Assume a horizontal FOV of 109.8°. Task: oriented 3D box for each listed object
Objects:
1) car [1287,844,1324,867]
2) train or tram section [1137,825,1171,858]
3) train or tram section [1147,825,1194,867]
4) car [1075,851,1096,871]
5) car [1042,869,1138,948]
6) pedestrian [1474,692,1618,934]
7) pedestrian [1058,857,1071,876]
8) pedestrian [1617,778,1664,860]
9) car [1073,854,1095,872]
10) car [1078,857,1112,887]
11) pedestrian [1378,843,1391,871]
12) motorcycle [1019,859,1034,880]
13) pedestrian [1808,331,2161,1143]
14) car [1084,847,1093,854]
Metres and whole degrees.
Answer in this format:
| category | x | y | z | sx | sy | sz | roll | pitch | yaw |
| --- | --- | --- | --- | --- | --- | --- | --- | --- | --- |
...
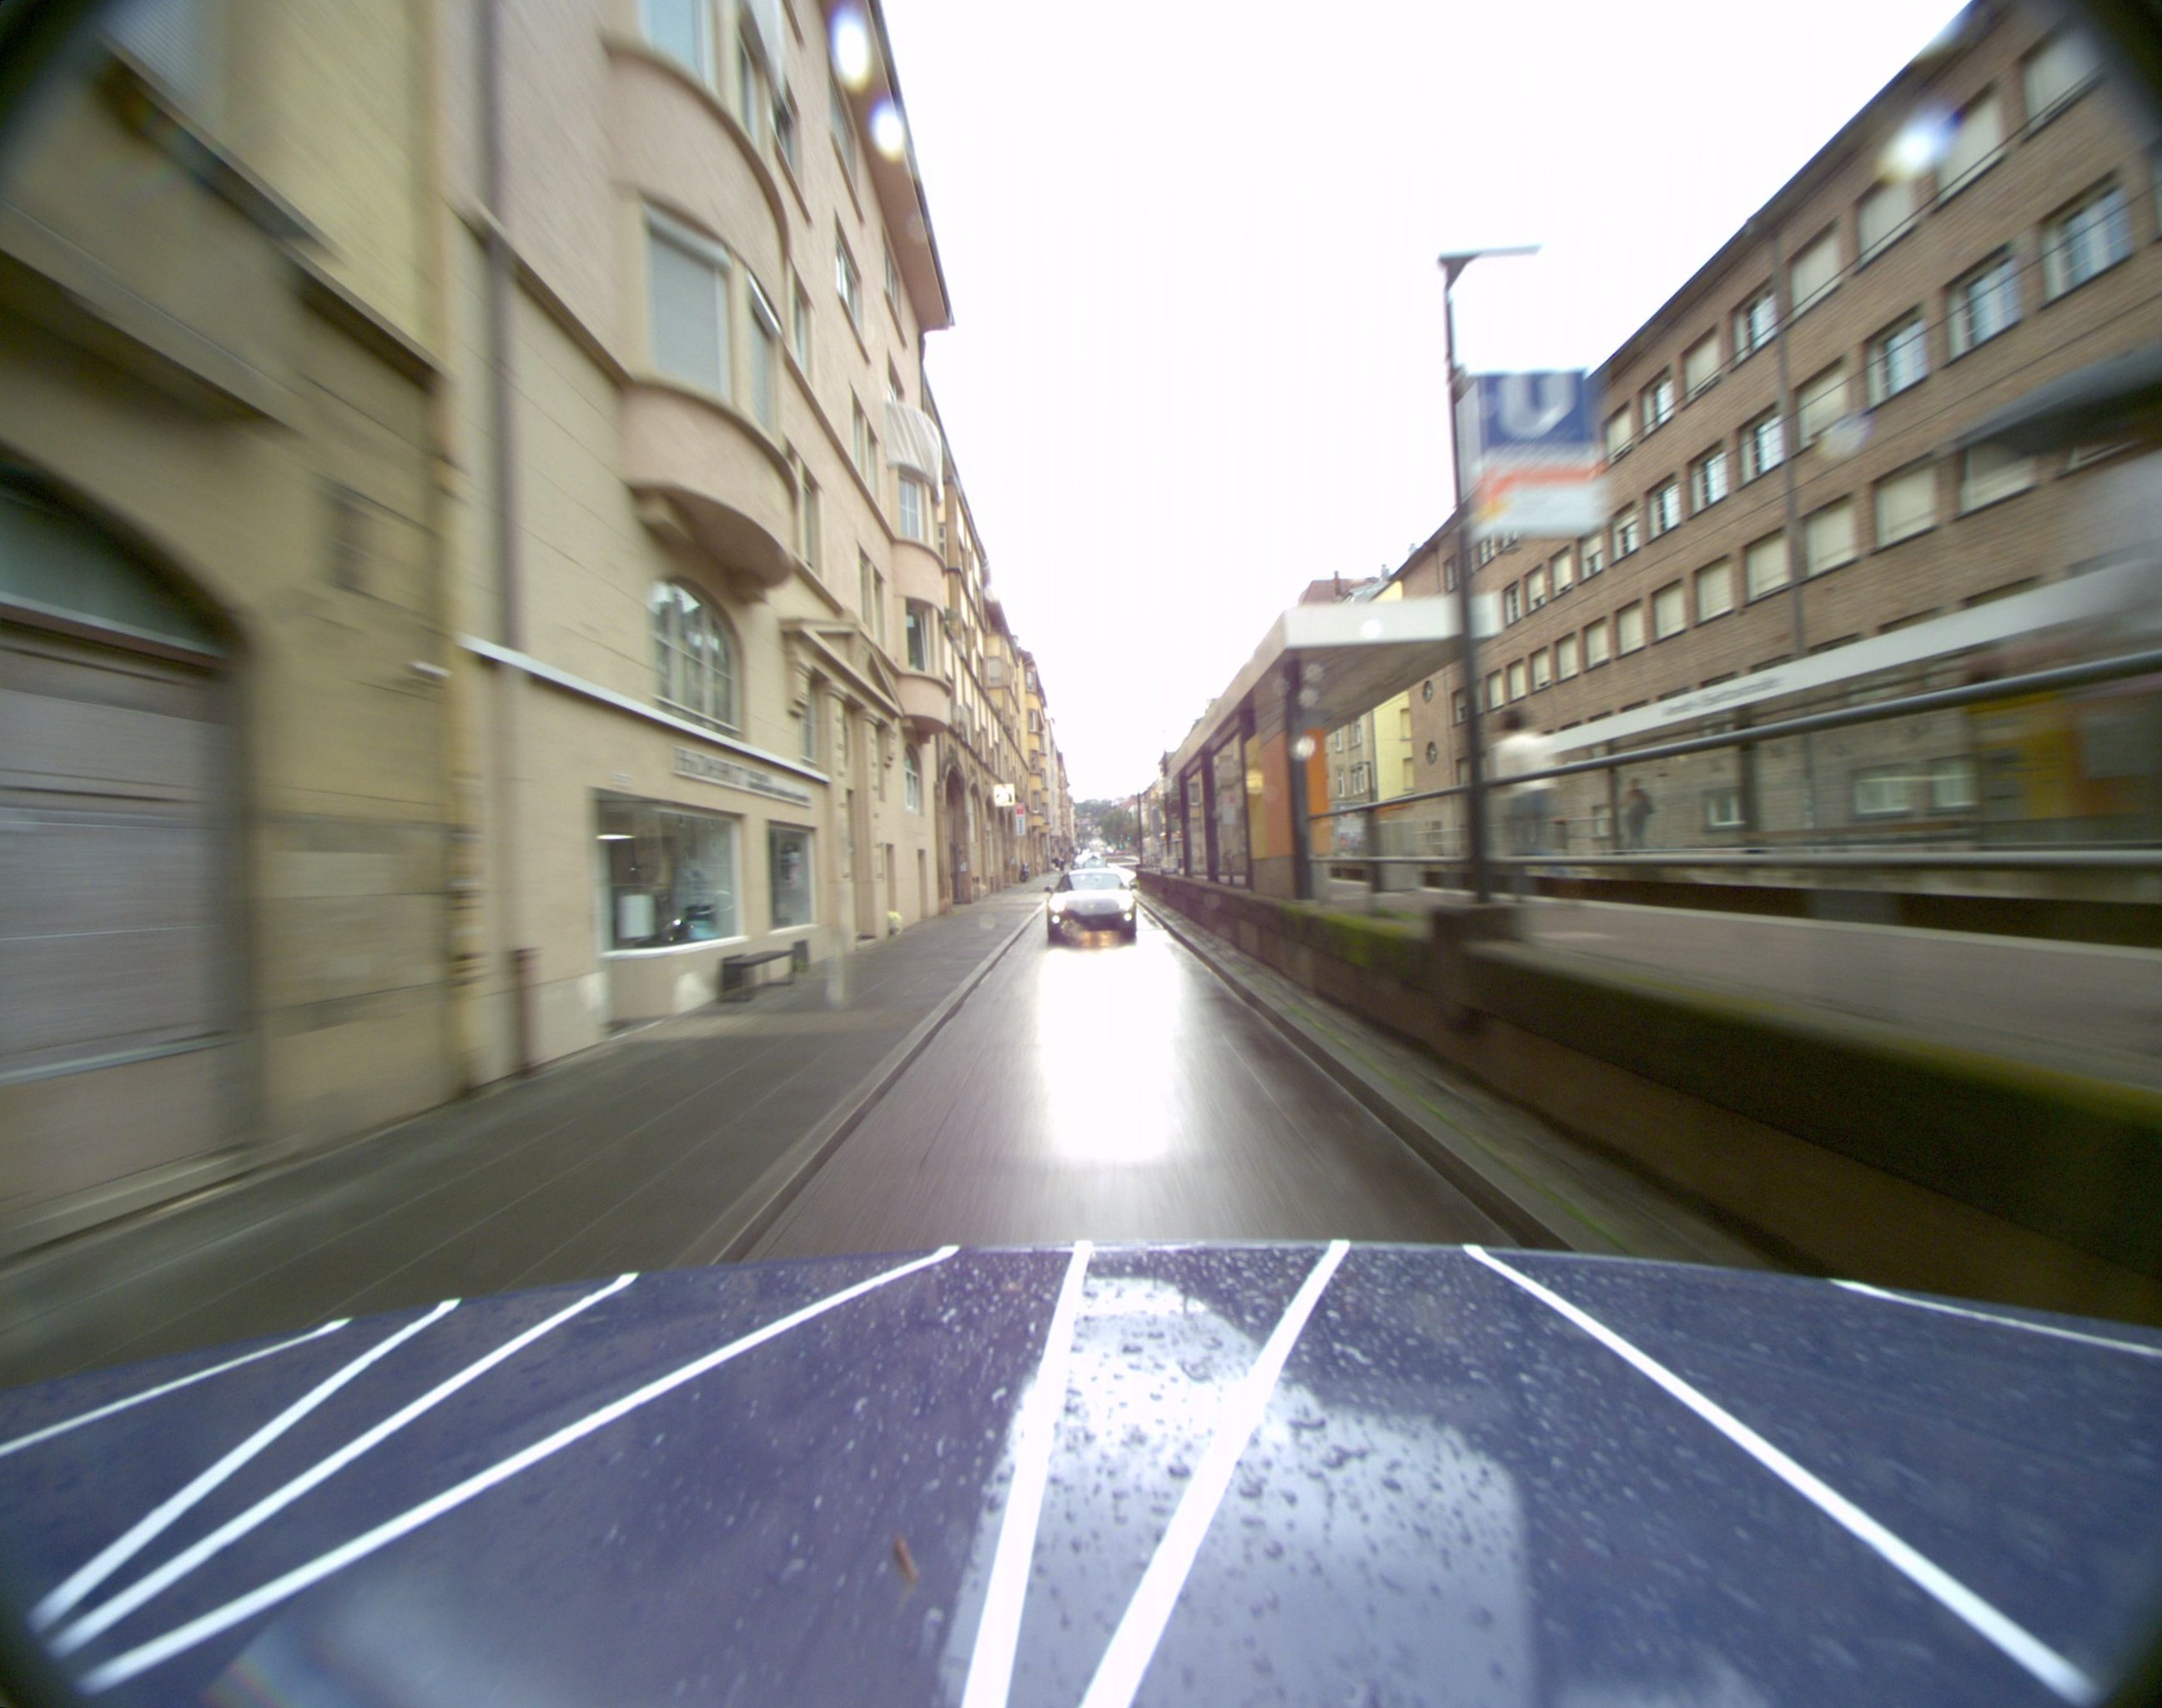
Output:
| category | x | y | z | sx | sy | sz | roll | pitch | yaw |
| --- | --- | --- | --- | --- | --- | --- | --- | --- | --- |
| car | 15.458 | 0.117 | 52.420 | 1.648 | 1.457 | 3.111 | -2 | 0 | 2 |
| train or tram section | 9.599 | -1.643 | 102.223 | 2.721 | 3.898 | 19.296 | -3 | 0 | 0 |
| train or tram section | 9.505 | -0.845 | 82.951 | 2.721 | 3.898 | 19.860 | -3 | 0 | 0 |
| car | 0.461 | 0.663 | 73.158 | 1.741 | 1.788 | 4.266 | -2 | 0 | 2 |
| car | 0.255 | 1.051 | 16.067 | 1.704 | 1.280 | 4.196 | -2 | 0 | 2 |
| pedestrian | 3.641 | -0.304 | 6.002 | 0.645 | 1.764 | 0.710 | -3 | 1 | 1 |
| pedestrian | -1.610 | 1.222 | 73.937 | 1.125 | 1.703 | 1.101 | -3 | 1 | 0 |
| pedestrian | 11.748 | -0.722 | 15.963 | 0.588 | 1.699 | 0.491 | -1 | 1 | 0 |
| car | 0.287 | 0.787 | 65.729 | 1.633 | 1.443 | 4.000 | -2 | 0 | 2 |
| car | 0.739 | 0.921 | 40.402 | 1.689 | 1.451 | 3.299 | -1 | 0 | 1 |
| pedestrian | 18.466 | 0.180 | 46.267 | 0.550 | 1.644 | 0.542 | -1 | 1 | 2 |
| motorcycle | -3.367 | 0.969 | 47.026 | 0.692 | 1.230 | 1.779 | 3 | 0 | 1 |
| pedestrian | 2.918 | -0.266 | 1.882 | 1.116 | 1.764 | 1.111 | -3 | 1 | 1 |
| car | 1.830 | -0.848 | 192.480 | 1.998 | 1.761 | 4.000 | -3 | 1 | 3 |
